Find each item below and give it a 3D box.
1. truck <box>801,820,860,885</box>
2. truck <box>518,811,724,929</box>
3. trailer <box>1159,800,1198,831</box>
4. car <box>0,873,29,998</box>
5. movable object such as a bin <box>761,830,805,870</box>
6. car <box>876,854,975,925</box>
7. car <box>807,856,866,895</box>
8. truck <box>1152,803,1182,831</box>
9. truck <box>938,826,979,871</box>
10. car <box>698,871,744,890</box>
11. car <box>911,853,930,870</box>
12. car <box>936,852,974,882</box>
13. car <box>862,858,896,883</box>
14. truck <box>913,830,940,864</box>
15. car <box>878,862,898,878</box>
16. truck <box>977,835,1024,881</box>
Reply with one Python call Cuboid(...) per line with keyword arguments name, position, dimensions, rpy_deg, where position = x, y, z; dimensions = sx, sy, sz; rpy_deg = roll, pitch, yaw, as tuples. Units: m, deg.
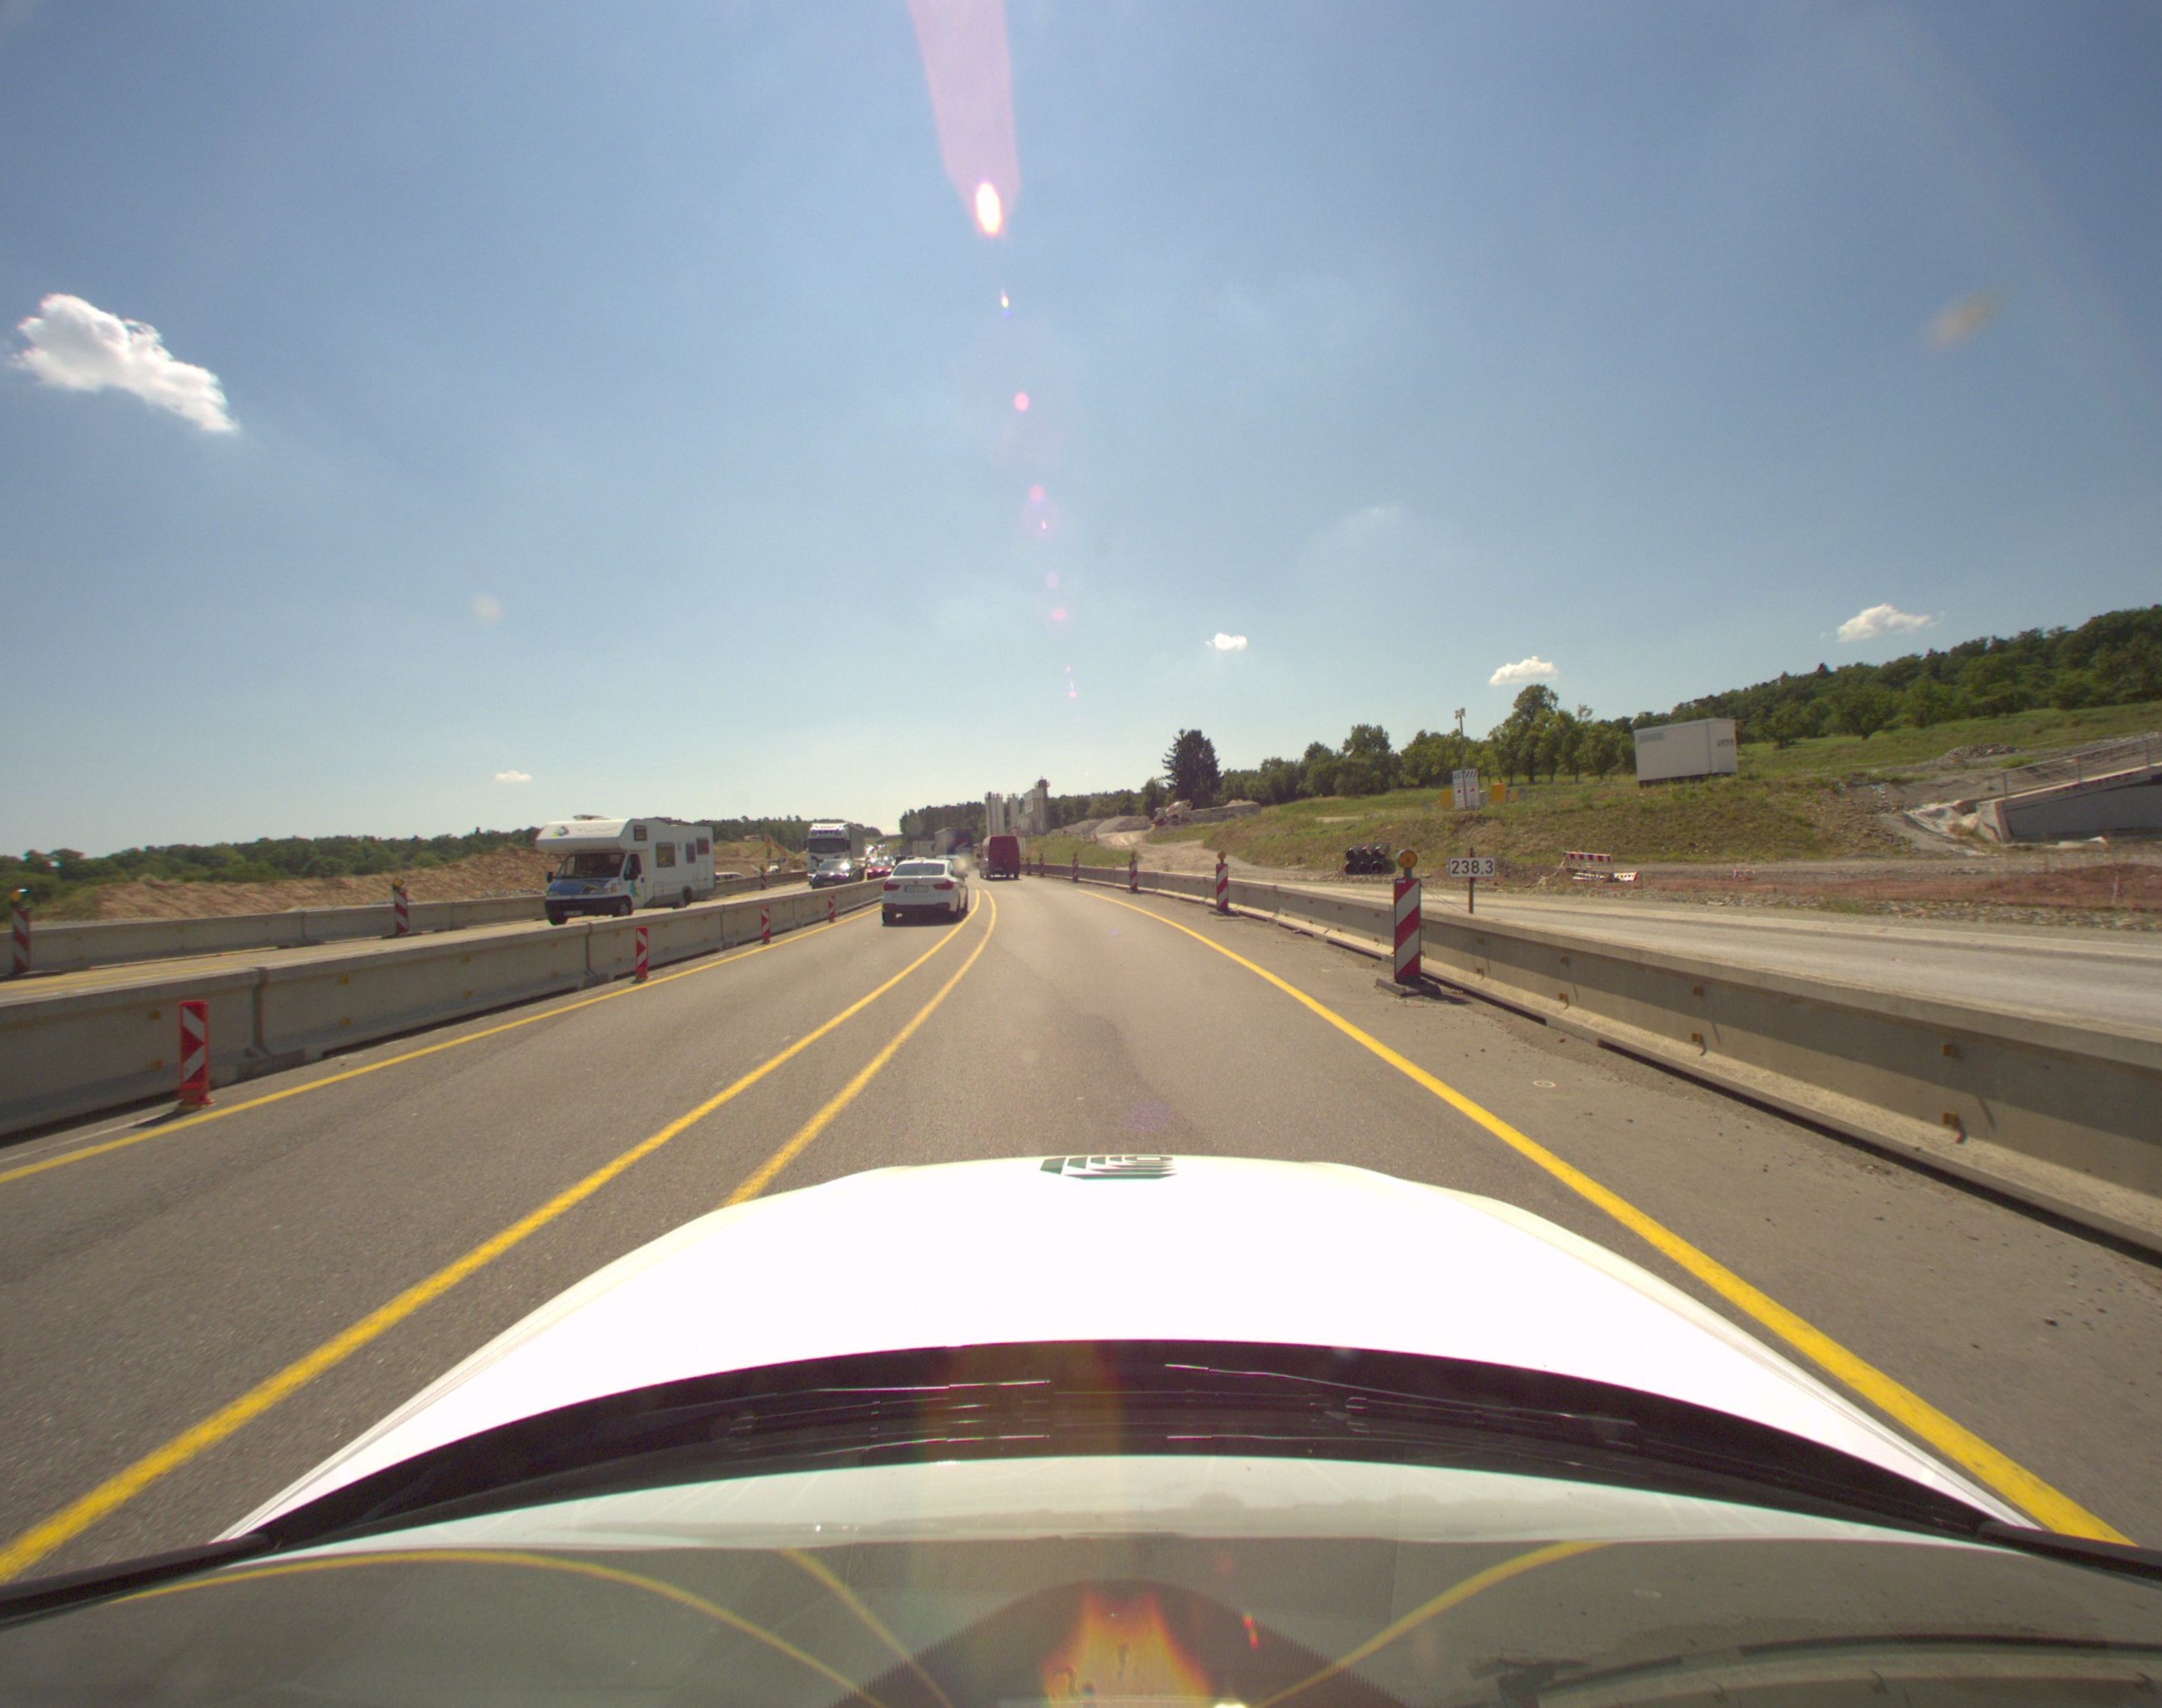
Cuboid(name="truck", position=(-16.800, -0.092, 54.934), dimensions=(2.699, 4.061, 5.487), rpy_deg=(-3, 0, -7))
Cuboid(name="truck", position=(-13.956, 0.405, 25.534), dimensions=(2.435, 3.071, 7.241), rpy_deg=(-3, 0, -2))
Cuboid(name="trailer", position=(14.711, -5.803, 123.525), dimensions=(2.769, 4.114, 6.692), rpy_deg=(-3, 0, -24))
Cuboid(name="car", position=(-15.130, 1.141, 8.792), dimensions=(1.713, 1.627, 4.340), rpy_deg=(-3, 0, 3))
Cuboid(name="movable object such as a bin", position=(-61.123, -0.782, 167.200), dimensions=(7.649, 7.713, 3.429), rpy_deg=(-3, 0, -14))
Cuboid(name="car", position=(-3.865, 0.814, 21.034), dimensions=(1.791, 1.534, 5.068), rpy_deg=(-1, 0, -3))
Cuboid(name="car", position=(-11.566, 0.964, 38.738), dimensions=(1.657, 1.605, 4.390), rpy_deg=(-3, 0, -4))
Cuboid(name="truck", position=(13.308, -5.747, 126.712), dimensions=(2.758, 4.095, 4.067), rpy_deg=(-3, 0, -24))
Cuboid(name="truck", position=(-12.355, -0.494, 81.439), dimensions=(3.021, 4.152, 8.230), rpy_deg=(-3, 0, -15))
Cuboid(name="car", position=(-30.341, 2.227, 68.696), dimensions=(3.219, 1.455, 1.529), rpy_deg=(-3, 0, -41))
Cuboid(name="car", position=(-16.750, 0.785, 84.875), dimensions=(1.803, 1.579, 3.984), rpy_deg=(-3, 0, -12))
Cuboid(name="car", position=(-7.198, 0.690, 46.757), dimensions=(1.792, 1.534, 3.924), rpy_deg=(-3, 0, -5))
Cuboid(name="car", position=(-13.590, 1.085, 54.946), dimensions=(1.667, 1.475, 3.960), rpy_deg=(-3, 0, -8))
Cuboid(name="truck", position=(-23.393, -1.042, 123.868), dimensions=(3.684, 4.691, 9.718), rpy_deg=(-3, 0, -10))
Cuboid(name="car", position=(-19.564, 1.590, 82.517), dimensions=(1.799, 1.475, 4.752), rpy_deg=(-3, 0, -15))
Cuboid(name="truck", position=(-5.110, 0.243, 51.114), dimensions=(2.113, 2.633, 6.457), rpy_deg=(-3, 0, -12))
